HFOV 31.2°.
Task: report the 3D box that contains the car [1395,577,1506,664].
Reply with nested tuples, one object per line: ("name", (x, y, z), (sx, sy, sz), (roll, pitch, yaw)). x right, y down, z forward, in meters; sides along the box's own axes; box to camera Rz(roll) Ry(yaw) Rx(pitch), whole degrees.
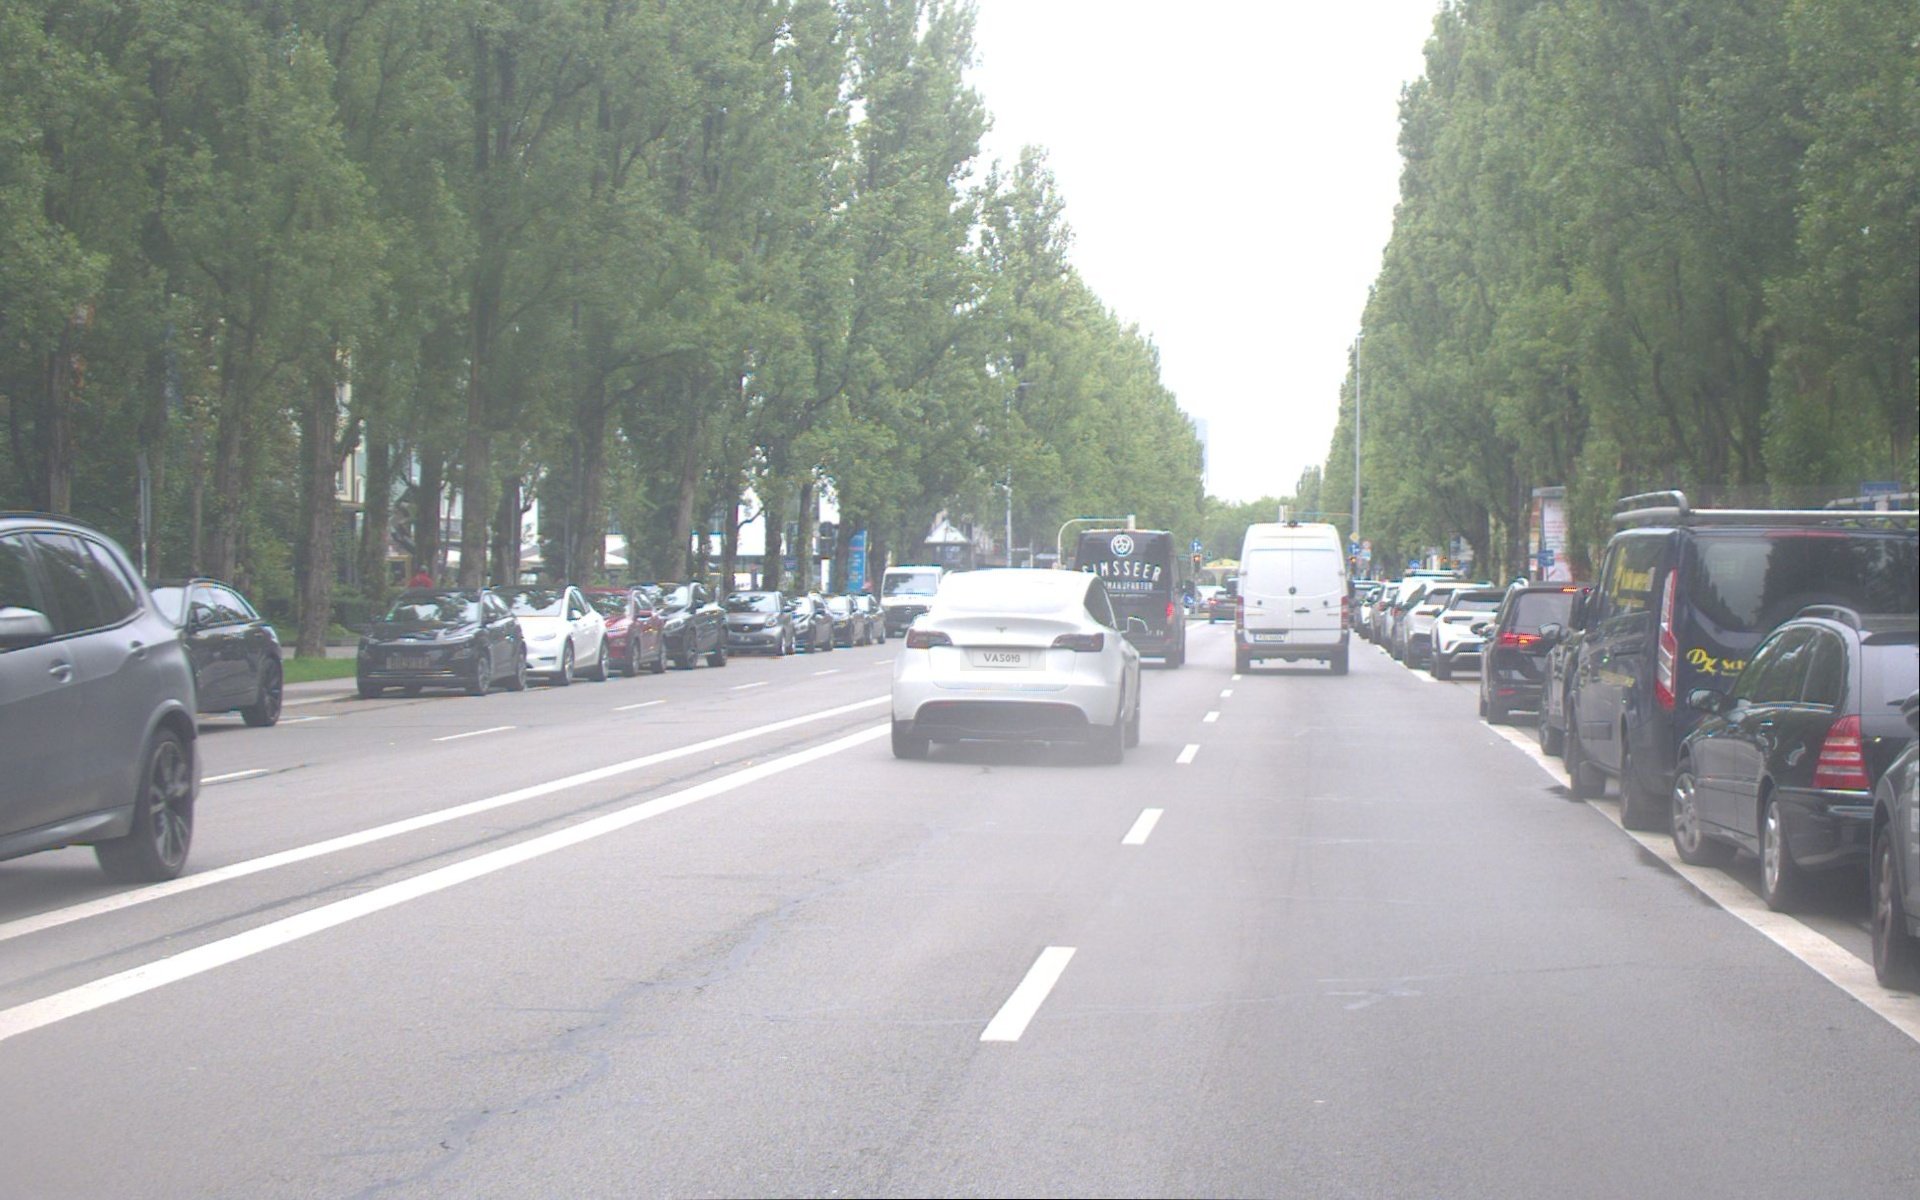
("car", (9.236, 0.365, 64.954), (1.743, 1.541, 3.950), (1, 0, 4))

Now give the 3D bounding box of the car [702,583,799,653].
("car", (-4.883, 0.414, 80.619), (1.762, 1.573, 3.460), (0, 1, 5))

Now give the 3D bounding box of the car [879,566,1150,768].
("car", (0.564, 0.516, 29.942), (1.994, 1.570, 4.638), (1, 1, 5))

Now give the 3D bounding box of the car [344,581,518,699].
("car", (-7.668, 0.553, 50.142), (1.942, 1.573, 3.610), (0, 2, 1))

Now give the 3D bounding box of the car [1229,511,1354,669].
("car", (5.927, -0.212, 61.637), (2.040, 2.643, 6.040), (2, 1, 5))

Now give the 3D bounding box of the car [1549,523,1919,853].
("car", (5.183, 0.511, 22.913), (1.911, 1.918, 5.039), (1, 0, 4))

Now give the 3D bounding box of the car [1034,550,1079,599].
("car", (5.627, -1.533, 199.855), (2.193, 2.709, 6.999), (0, 2, 5))

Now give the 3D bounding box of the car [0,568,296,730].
("car", (-8.530, 0.473, 36.324), (1.994, 1.601, 4.352), (0, 0, 3))

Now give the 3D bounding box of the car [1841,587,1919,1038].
("car", (4.112, 0.736, 11.411), (1.743, 1.522, 3.907), (1, 0, 6))

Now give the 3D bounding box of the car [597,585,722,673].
("car", (-5.831, 0.539, 67.111), (1.762, 1.573, 3.972), (0, 2, 5))

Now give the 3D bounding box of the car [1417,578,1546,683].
("car", (8.577, 0.484, 56.827), (1.743, 1.637, 3.950), (1, 0, 4))

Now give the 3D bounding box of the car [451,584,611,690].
("car", (-6.920, 0.569, 55.794), (1.762, 1.573, 3.972), (0, 2, 5))

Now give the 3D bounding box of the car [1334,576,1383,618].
("car", (16.237, -0.128, 140.071), (1.743, 1.637, 3.950), (1, 0, 4))

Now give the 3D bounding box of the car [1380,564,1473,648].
("car", (10.412, 0.125, 76.957), (1.743, 1.781, 3.950), (1, 0, 4))

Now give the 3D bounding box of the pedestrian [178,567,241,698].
("pedestrian", (-9.473, 0.404, 43.391), (0.667, 1.651, 0.601), (0, 0, 0))

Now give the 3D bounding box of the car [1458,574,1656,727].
("car", (6.660, 0.529, 38.684), (1.743, 1.586, 3.950), (1, 0, 4))

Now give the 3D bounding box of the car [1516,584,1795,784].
("car", (5.761, 0.650, 28.889), (1.743, 1.522, 3.950), (1, 0, 4))

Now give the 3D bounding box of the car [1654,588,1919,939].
("car", (4.664, 0.722, 17.150), (1.743, 1.522, 4.234), (1, 0, 3))

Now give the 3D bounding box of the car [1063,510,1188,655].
("car", (3.164, -0.341, 64.680), (2.076, 2.547, 5.931), (1, 1, 5))

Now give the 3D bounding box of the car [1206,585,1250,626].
("car", (11.118, 0.209, 142.608), (1.743, 1.637, 3.950), (1, 0, 4))

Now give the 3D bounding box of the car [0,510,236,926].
("car", (-4.874, 0.500, 15.030), (1.994, 1.710, 4.758), (-1, 0, 5))

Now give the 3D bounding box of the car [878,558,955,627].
("car", (-1.378, -0.262, 112.178), (1.994, 2.112, 4.999), (0, 2, 5))

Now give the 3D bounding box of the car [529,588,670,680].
("car", (-6.413, 0.586, 61.542), (1.762, 1.573, 3.971), (0, 0, 5))

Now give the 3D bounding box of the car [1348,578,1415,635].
("car", (12.733, 0.190, 103.987), (1.743, 1.637, 3.950), (1, 0, 4))

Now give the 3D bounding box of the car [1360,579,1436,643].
("car", (11.775, 0.283, 92.564), (1.743, 1.637, 3.950), (1, 0, 4))
